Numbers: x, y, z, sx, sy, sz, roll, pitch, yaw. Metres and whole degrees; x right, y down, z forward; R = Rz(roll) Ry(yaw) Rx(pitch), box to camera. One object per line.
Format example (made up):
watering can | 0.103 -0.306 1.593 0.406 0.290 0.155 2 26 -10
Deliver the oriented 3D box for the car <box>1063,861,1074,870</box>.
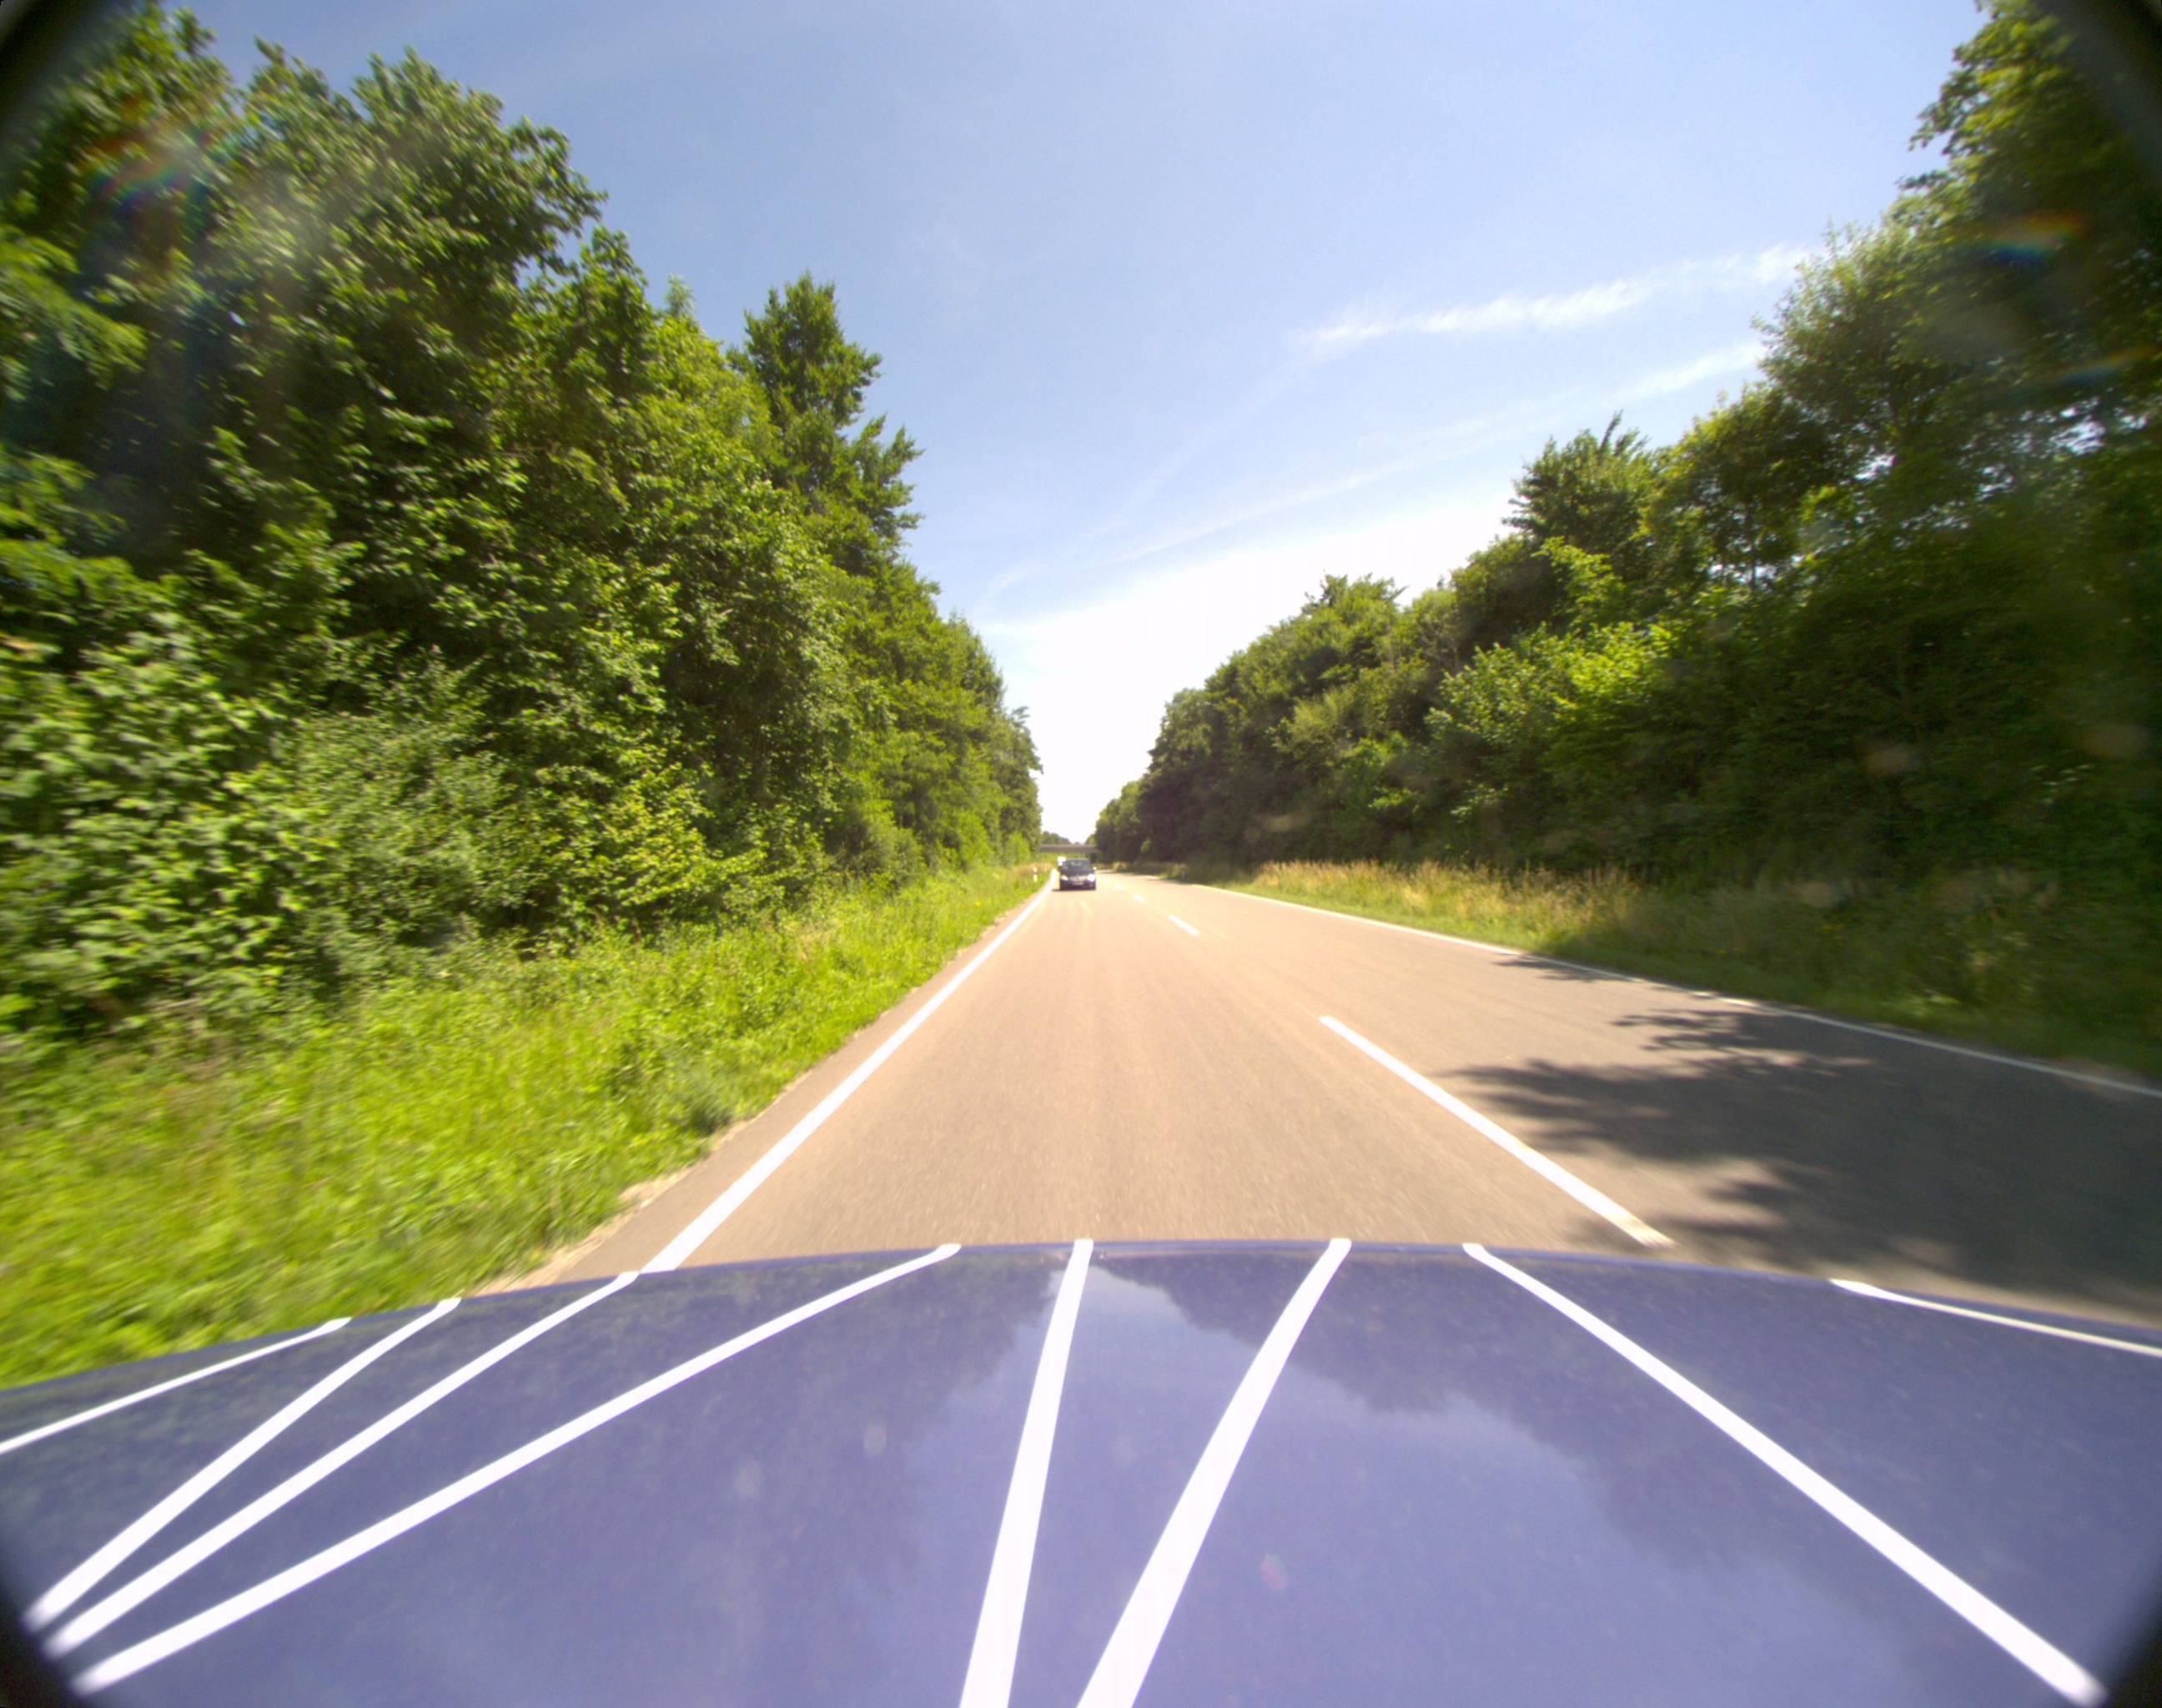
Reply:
car | -2.140 1.998 131.512 1.709 1.523 4.778 -3 0 -1

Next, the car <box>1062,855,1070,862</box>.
car | -3.234 0.993 163.617 1.709 1.523 4.778 -3 0 -1

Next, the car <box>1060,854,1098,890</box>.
car | -0.123 0.903 38.512 1.784 1.675 4.779 -1 -1 -1
